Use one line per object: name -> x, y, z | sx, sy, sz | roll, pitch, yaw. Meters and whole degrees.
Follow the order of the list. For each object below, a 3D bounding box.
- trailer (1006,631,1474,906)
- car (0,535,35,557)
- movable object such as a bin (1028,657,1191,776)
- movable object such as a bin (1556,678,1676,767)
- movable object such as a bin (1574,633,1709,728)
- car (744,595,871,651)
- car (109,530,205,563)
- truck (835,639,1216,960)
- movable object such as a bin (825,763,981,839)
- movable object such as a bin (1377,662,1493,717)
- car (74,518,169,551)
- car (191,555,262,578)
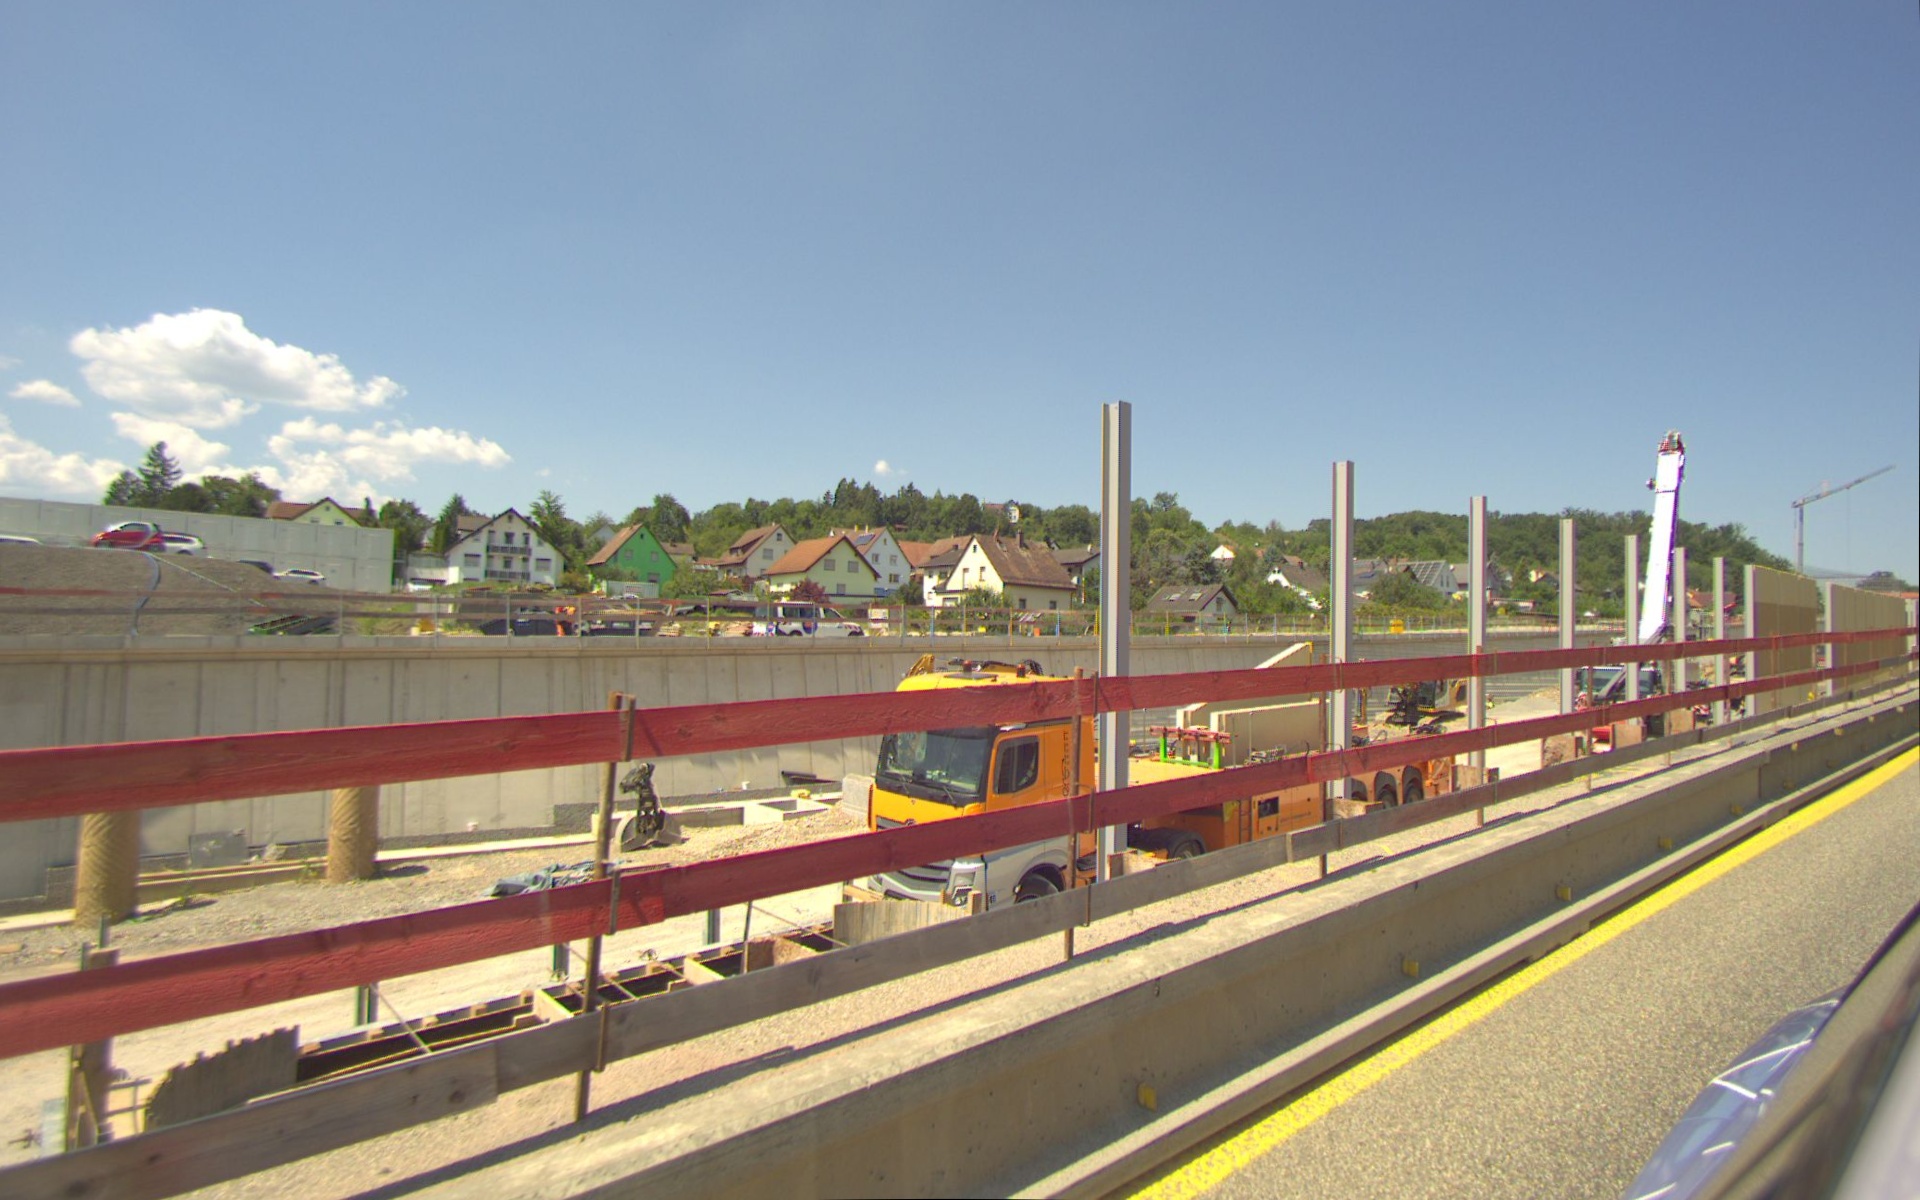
trailer -> 6.488, 2.734, 20.759 | 12.822, 3.936, 2.762 | 1, -1, -42
car -> -62.184, -3.537, 65.500 | 3.369, 1.297, 1.517 | 1, 0, -41
movable object such as a bin -> 4.520, 3.335, 30.260 | 4.737, 3.063, 2.283 | 0, -2, -41
movable object such as a bin -> 22.131, 4.015, 34.077 | 4.737, 2.463, 2.171 | 0, -2, -42
movable object such as a bin -> 29.447, 3.270, 43.535 | 9.001, 3.533, 2.967 | 0, -2, -44
car -> -5.899, 0.860, 39.576 | 4.745, 2.039, 1.807 | 1, -1, -44
car -> -43.220, -2.870, 54.516 | 4.004, 1.537, 1.683 | 1, 0, -41
truck -> 1.209, 2.682, 16.036 | 5.779, 3.936, 2.762 | 1, -1, -42
movable object such as a bin -> -1.470, 5.114, 26.062 | 3.155, 1.508, 2.378 | 1, -9, -41
movable object such as a bin -> 26.736, 4.914, 56.786 | 7.760, 2.477, 3.166 | 0, -2, -43
car -> -39.377, -3.046, 47.583 | 3.369, 1.333, 1.517 | 1, 0, -41
car -> -53.020, -2.378, 73.172 | 4.004, 1.537, 1.683 | 1, 0, -41
